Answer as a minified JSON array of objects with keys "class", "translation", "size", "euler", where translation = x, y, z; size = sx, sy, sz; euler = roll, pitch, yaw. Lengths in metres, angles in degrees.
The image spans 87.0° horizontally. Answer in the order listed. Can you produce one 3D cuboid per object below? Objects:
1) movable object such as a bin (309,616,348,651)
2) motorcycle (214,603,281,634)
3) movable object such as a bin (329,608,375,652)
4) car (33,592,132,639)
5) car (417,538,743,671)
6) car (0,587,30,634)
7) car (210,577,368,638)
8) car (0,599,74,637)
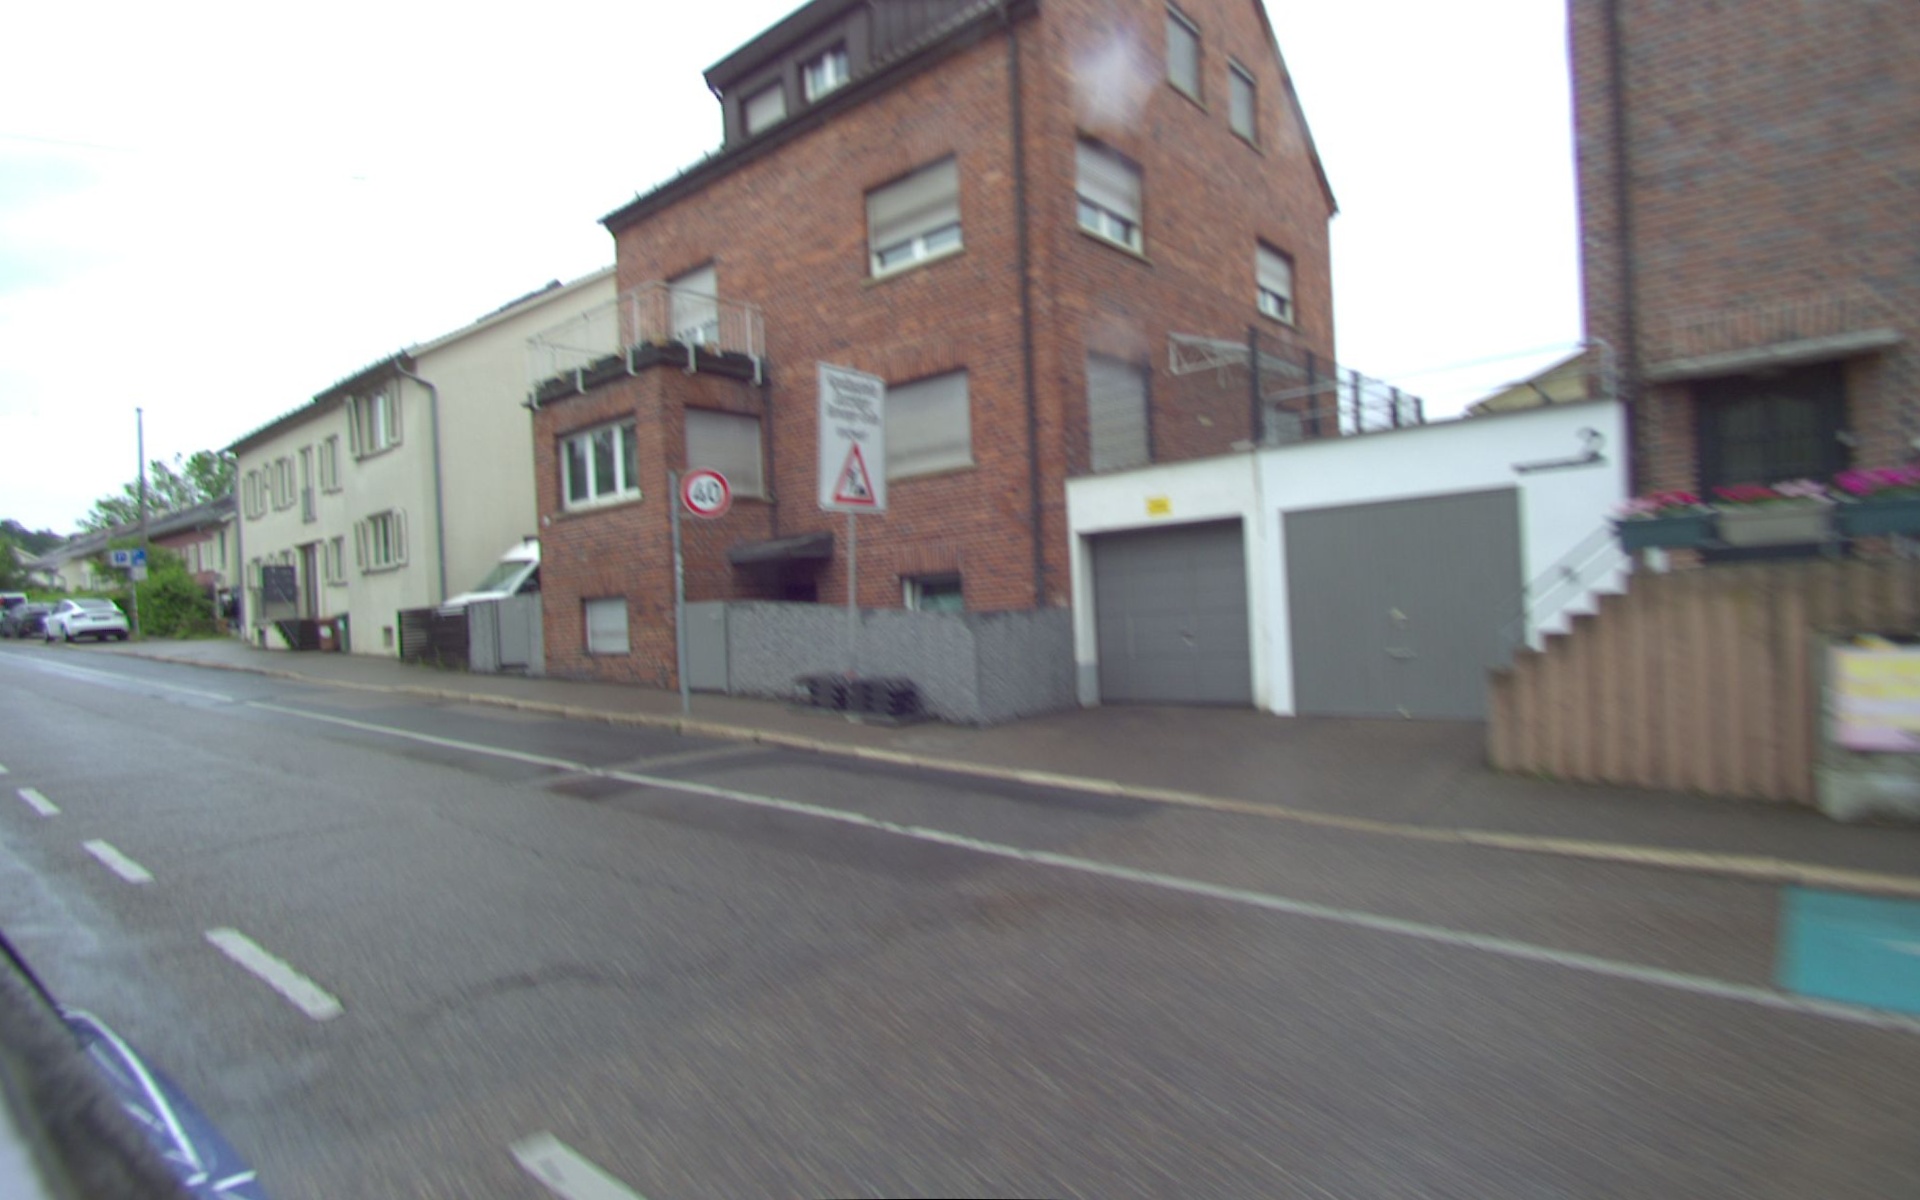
[{"class":"movable object such as a bin","translation":[-16.653,0.882,26.702],"size":[0.708,0.866,0.666],"euler":[-1,2,41]},{"class":"motorcycle","translation":[-28.791,0.732,40.914],"size":[0.840,1.143,2.070],"euler":[2,3,43]},{"class":"movable object such as a bin","translation":[-15.348,0.747,25.543],"size":[0.738,1.054,0.773],"euler":[-1,2,41]},{"class":"car","translation":[-33.833,0.579,38.990],"size":[4.669,1.643,1.912],"euler":[-1,2,37]},{"class":"car","translation":[-8.248,-0.049,22.719],"size":[2.167,2.572,6.586],"euler":[1,3,41]},{"class":"car","translation":[-45.573,0.545,47.280],"size":[5.004,2.094,1.834],"euler":[-1,2,32]},{"class":"car","translation":[-24.587,0.256,37.210],"size":[1.885,2.029,4.447],"euler":[-3,0,37]},{"class":"car","translation":[-40.262,0.781,43.897],"size":[4.513,1.487,1.792],"euler":[-1,2,36]}]
